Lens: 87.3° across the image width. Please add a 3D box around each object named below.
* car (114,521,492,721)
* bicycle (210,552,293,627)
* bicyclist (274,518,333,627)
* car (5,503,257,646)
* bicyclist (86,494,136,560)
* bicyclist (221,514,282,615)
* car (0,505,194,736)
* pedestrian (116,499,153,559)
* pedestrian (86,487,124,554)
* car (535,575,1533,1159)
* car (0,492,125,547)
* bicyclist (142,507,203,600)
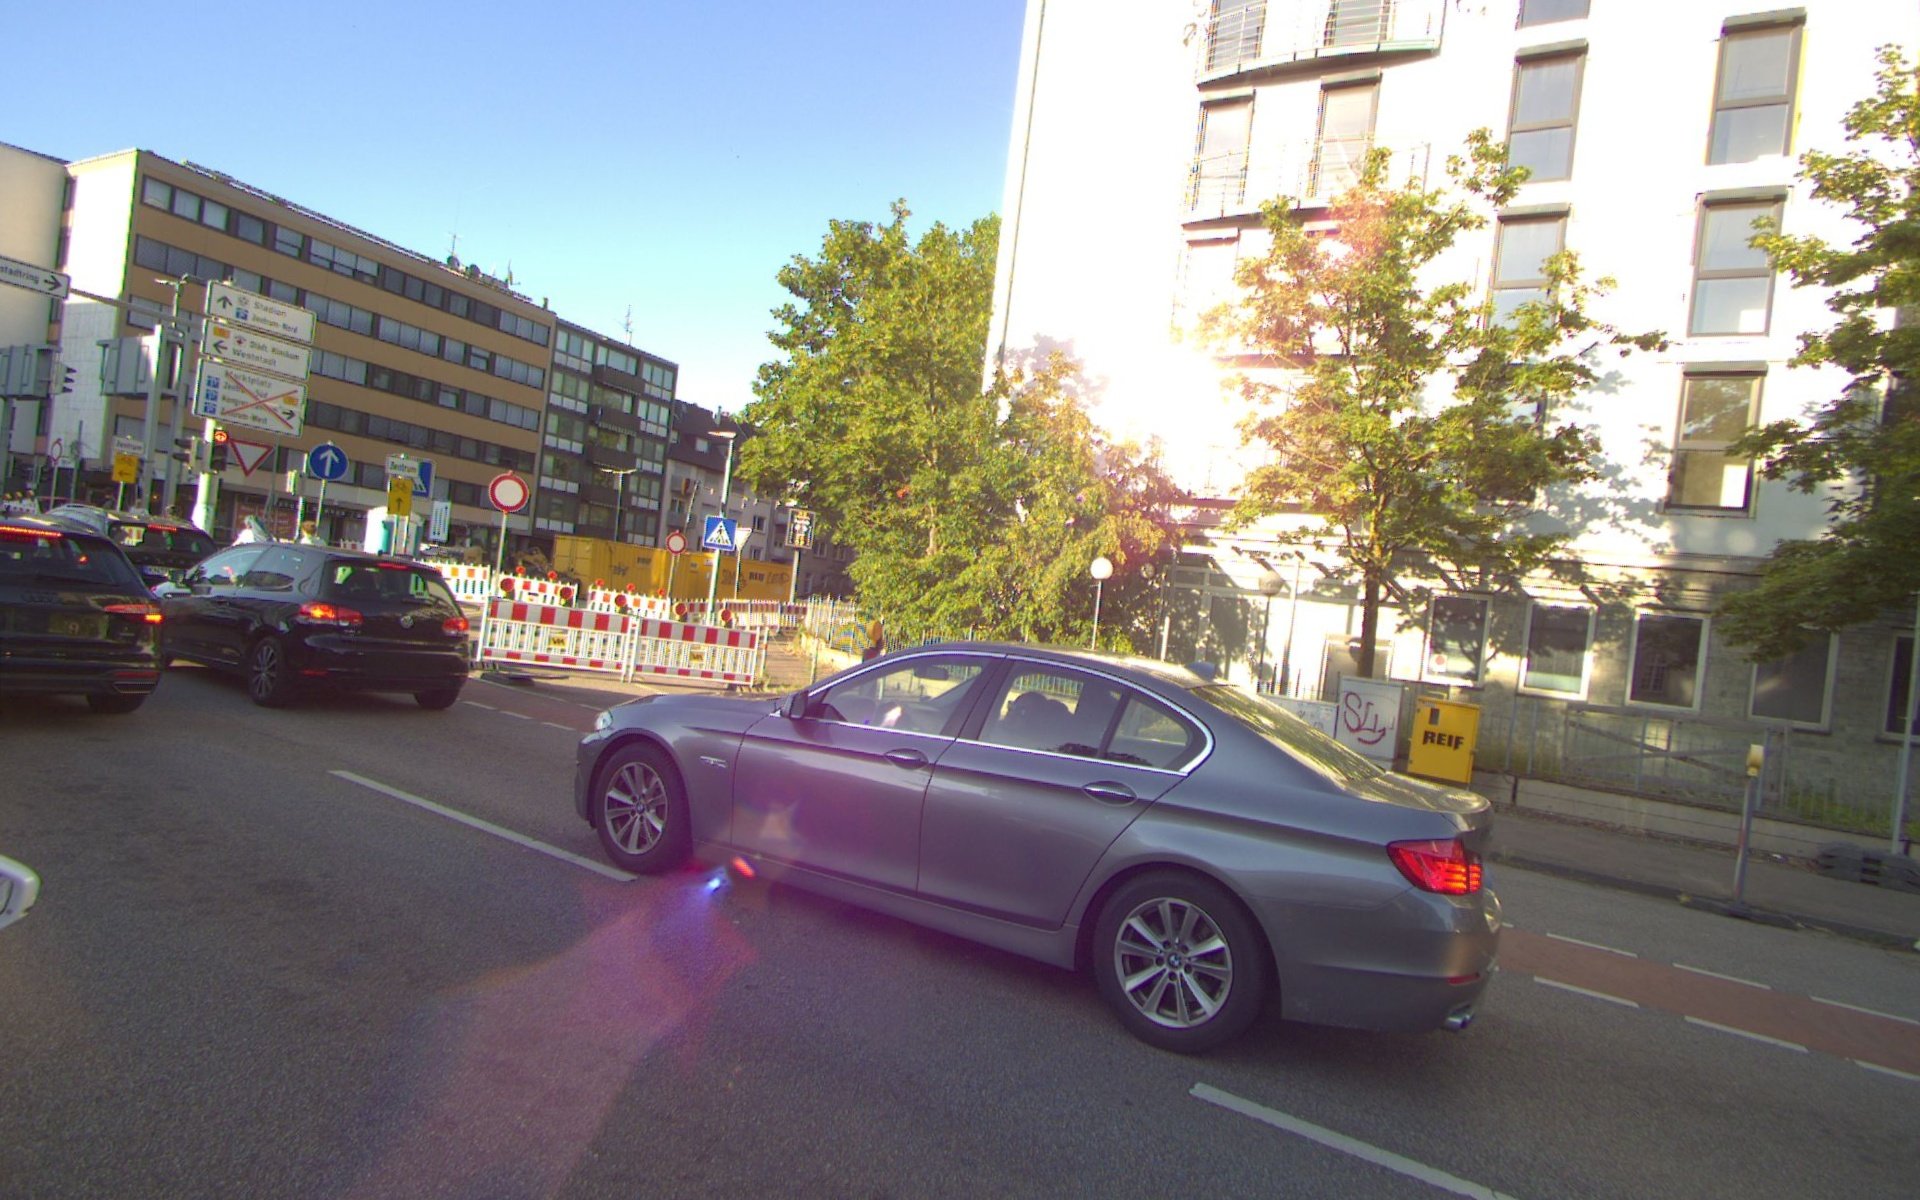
[{"bbox_3d":[-6.620,0.180,10.060,3.683,1.466,1.637,7,-2,32],"label":"car"},{"bbox_3d":[-11.481,-0.177,16.278,1.825,1.020,0.337,7,0,32],"label":"bicycle"},{"bbox_3d":[-9.808,-0.406,15.034,0.474,1.544,0.441,7,0,31],"label":"bicyclist"},{"bbox_3d":[-11.100,-0.357,13.443,3.250,1.466,1.508,7,-2,32],"label":"car"},{"bbox_3d":[-22.712,-1.960,26.918,0.800,1.608,0.619,8,0,29],"label":"bicyclist"},{"bbox_3d":[-11.499,-0.571,16.323,0.713,1.544,0.441,7,0,32],"label":"bicyclist"},{"bbox_3d":[-7.690,-0.052,7.480,4.144,1.437,1.685,7,-2,32],"label":"car"},{"bbox_3d":[-24.380,-2.090,29.724,0.447,1.691,0.602,7,0,33],"label":"pedestrian"},{"bbox_3d":[-24.660,-2.292,29.015,0.479,1.857,0.570,7,0,34],"label":"pedestrian"},{"bbox_3d":[0.193,0.912,5.151,4.587,1.466,1.819,7,-1,29],"label":"car"},{"bbox_3d":[-31.427,-2.802,34.430,1.650,1.435,4.001,7,-1,18],"label":"car"},{"bbox_3d":[-13.955,-0.826,17.821,0.713,1.544,0.514,7,0,32],"label":"bicyclist"}]
